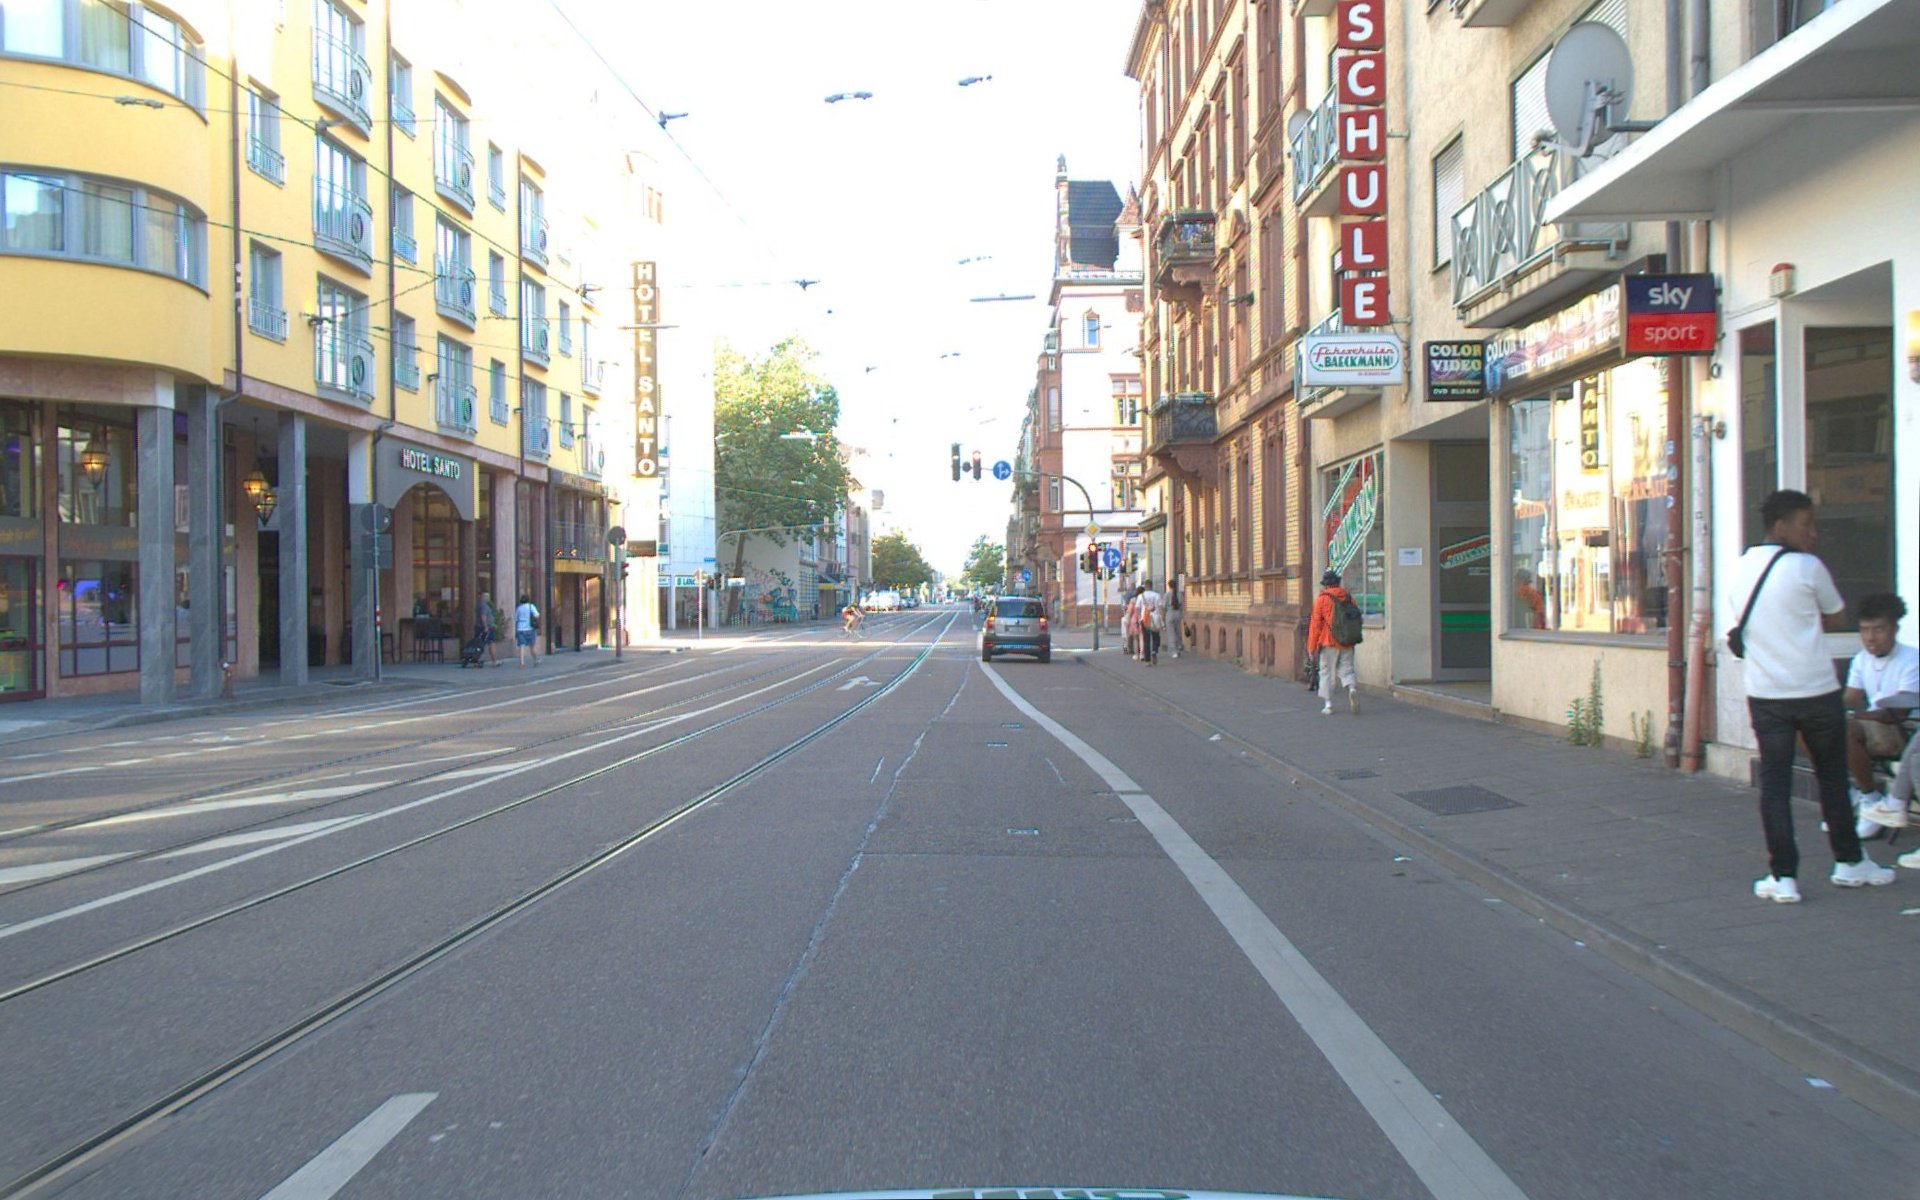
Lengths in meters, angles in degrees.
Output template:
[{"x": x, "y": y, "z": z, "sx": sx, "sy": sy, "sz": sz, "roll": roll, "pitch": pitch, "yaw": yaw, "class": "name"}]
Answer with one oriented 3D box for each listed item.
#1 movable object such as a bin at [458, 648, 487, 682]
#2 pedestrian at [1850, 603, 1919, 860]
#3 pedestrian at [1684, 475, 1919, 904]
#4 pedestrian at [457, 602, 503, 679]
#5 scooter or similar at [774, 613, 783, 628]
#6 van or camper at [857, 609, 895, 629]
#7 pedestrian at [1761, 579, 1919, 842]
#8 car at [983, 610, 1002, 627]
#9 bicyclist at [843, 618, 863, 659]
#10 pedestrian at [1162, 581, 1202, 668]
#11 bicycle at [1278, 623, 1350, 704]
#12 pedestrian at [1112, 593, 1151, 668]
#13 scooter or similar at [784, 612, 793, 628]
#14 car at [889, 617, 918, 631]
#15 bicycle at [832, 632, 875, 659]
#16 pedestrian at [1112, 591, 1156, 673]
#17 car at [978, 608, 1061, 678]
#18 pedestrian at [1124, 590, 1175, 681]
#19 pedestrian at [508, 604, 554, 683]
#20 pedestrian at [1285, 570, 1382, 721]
[{"x": -11.488, "y": 1.523, "z": 39.003, "sx": 0.375, "sy": 0.729, "sz": 0.841, "roll": 4, "pitch": 0, "yaw": 2, "class": "movable object such as a bin"}, {"x": 4.935, "y": 0.604, "z": 7.794, "sx": 0.694, "sy": 1.194, "sz": 1.010, "roll": -7, "pitch": 0, "yaw": -19, "class": "pedestrian"}, {"x": 3.873, "y": 0.394, "z": 7.653, "sx": 0.690, "sy": 1.843, "sz": 0.680, "roll": -6, "pitch": 0, "yaw": 16, "class": "pedestrian"}, {"x": -11.545, "y": 0.966, "z": 39.800, "sx": 0.781, "sy": 1.801, "sz": 0.749, "roll": 4, "pitch": 0, "yaw": 0, "class": "pedestrian"}, {"x": -12.880, "y": 1.439, "z": 117.269, "sx": 0.506, "sy": 1.064, "sz": 1.478, "roll": -1, "pitch": 0, "yaw": -1, "class": "scooter or similar"}, {"x": -10.927, "y": 2.495, "z": 215.694, "sx": 4.587, "sy": 2.608, "sz": 1.979, "roll": 0, "pitch": -1, "yaw": -31, "class": "van or camper"}, {"x": 4.927, "y": 0.567, "z": 8.884, "sx": 0.821, "sy": 1.277, "sz": 0.698, "roll": -7, "pitch": 0, "yaw": -35, "class": "pedestrian"}, {"x": 3.286, "y": 1.841, "z": 166.124, "sx": 1.909, "sy": 1.713, "sz": 4.001, "roll": -1, "pitch": 0, "yaw": 2, "class": "car"}, {"x": -4.427, "y": 1.578, "z": 68.437, "sx": 0.724, "sy": 1.663, "sz": 0.608, "roll": 1, "pitch": -2, "yaw": 4, "class": "bicyclist"}, {"x": 5.122, "y": 0.564, "z": 38.176, "sx": 0.677, "sy": 1.941, "sz": 0.670, "roll": -5, "pitch": 0, "yaw": -1, "class": "pedestrian"}, {"x": 5.187, "y": 0.910, "z": 24.365, "sx": 0.543, "sy": 1.079, "sz": 2.311, "roll": -3, "pitch": 0, "yaw": 1, "class": "bicycle"}, {"x": 4.397, "y": 0.779, "z": 42.408, "sx": 0.789, "sy": 1.831, "sz": 0.761, "roll": -5, "pitch": 0, "yaw": 0, "class": "pedestrian"}, {"x": -12.193, "y": 1.429, "z": 117.304, "sx": 0.506, "sy": 1.076, "sz": 1.478, "roll": -1, "pitch": 0, "yaw": -1, "class": "scooter or similar"}, {"x": -8.591, "y": 3.623, "z": 252.179, "sx": 3.936, "sy": 2.049, "sz": 1.985, "roll": -1, "pitch": 0, "yaw": -25, "class": "car"}, {"x": -4.419, "y": 1.885, "z": 68.413, "sx": 1.678, "sy": 1.052, "sz": 0.599, "roll": 1, "pitch": -2, "yaw": 5, "class": "bicycle"}, {"x": 4.050, "y": 0.736, "z": 38.450, "sx": 0.789, "sy": 1.831, "sz": 0.761, "roll": -5, "pitch": 0, "yaw": -1, "class": "pedestrian"}, {"x": 1.511, "y": 1.076, "z": 43.314, "sx": 1.953, "sy": 1.646, "sz": 4.000, "roll": 3, "pitch": 0, "yaw": 0, "class": "car"}, {"x": 3.993, "y": 0.735, "z": 34.896, "sx": 0.789, "sy": 1.831, "sz": 1.091, "roll": -5, "pitch": 0, "yaw": -1, "class": "pedestrian"}, {"x": -10.538, "y": 1.052, "z": 40.653, "sx": 0.736, "sy": 1.850, "sz": 1.046, "roll": 4, "pitch": 0, "yaw": 0, "class": "pedestrian"}, {"x": 4.364, "y": 0.518, "z": 19.359, "sx": 0.782, "sy": 1.655, "sz": 0.825, "roll": -6, "pitch": 0, "yaw": 0, "class": "pedestrian"}]
